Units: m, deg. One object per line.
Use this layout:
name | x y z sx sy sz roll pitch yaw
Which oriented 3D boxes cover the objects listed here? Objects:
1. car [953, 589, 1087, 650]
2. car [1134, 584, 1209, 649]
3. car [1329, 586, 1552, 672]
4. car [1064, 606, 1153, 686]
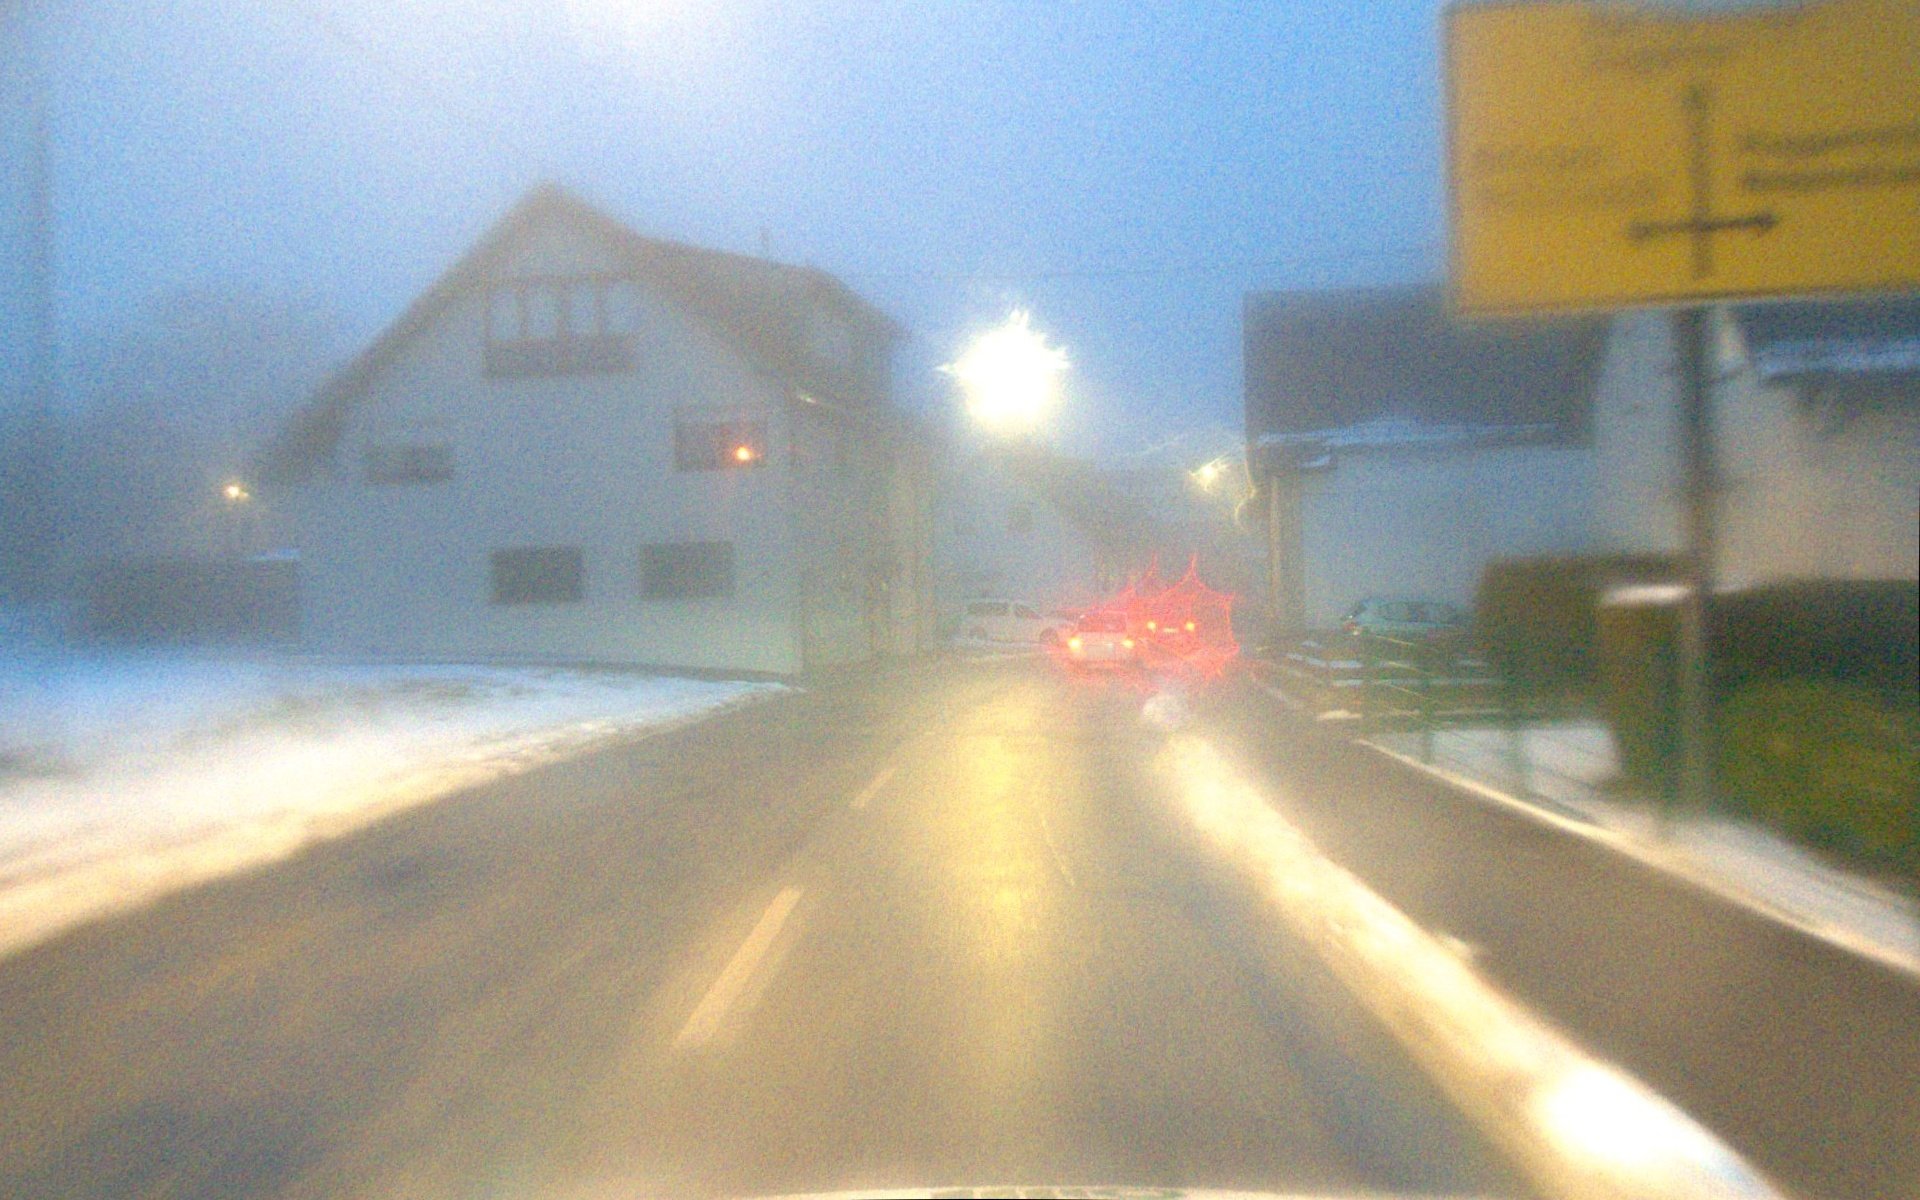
car | 2.302 0.743 63.425 4.637 2.048 2.000 -2 2 23
car | 7.137 0.525 55.491 1.951 1.869 4.004 -3 2 14
car | 9.238 0.534 32.058 3.902 1.478 1.716 1 2 7
car | 3.613 1.063 39.744 1.951 1.534 4.004 -3 2 7
